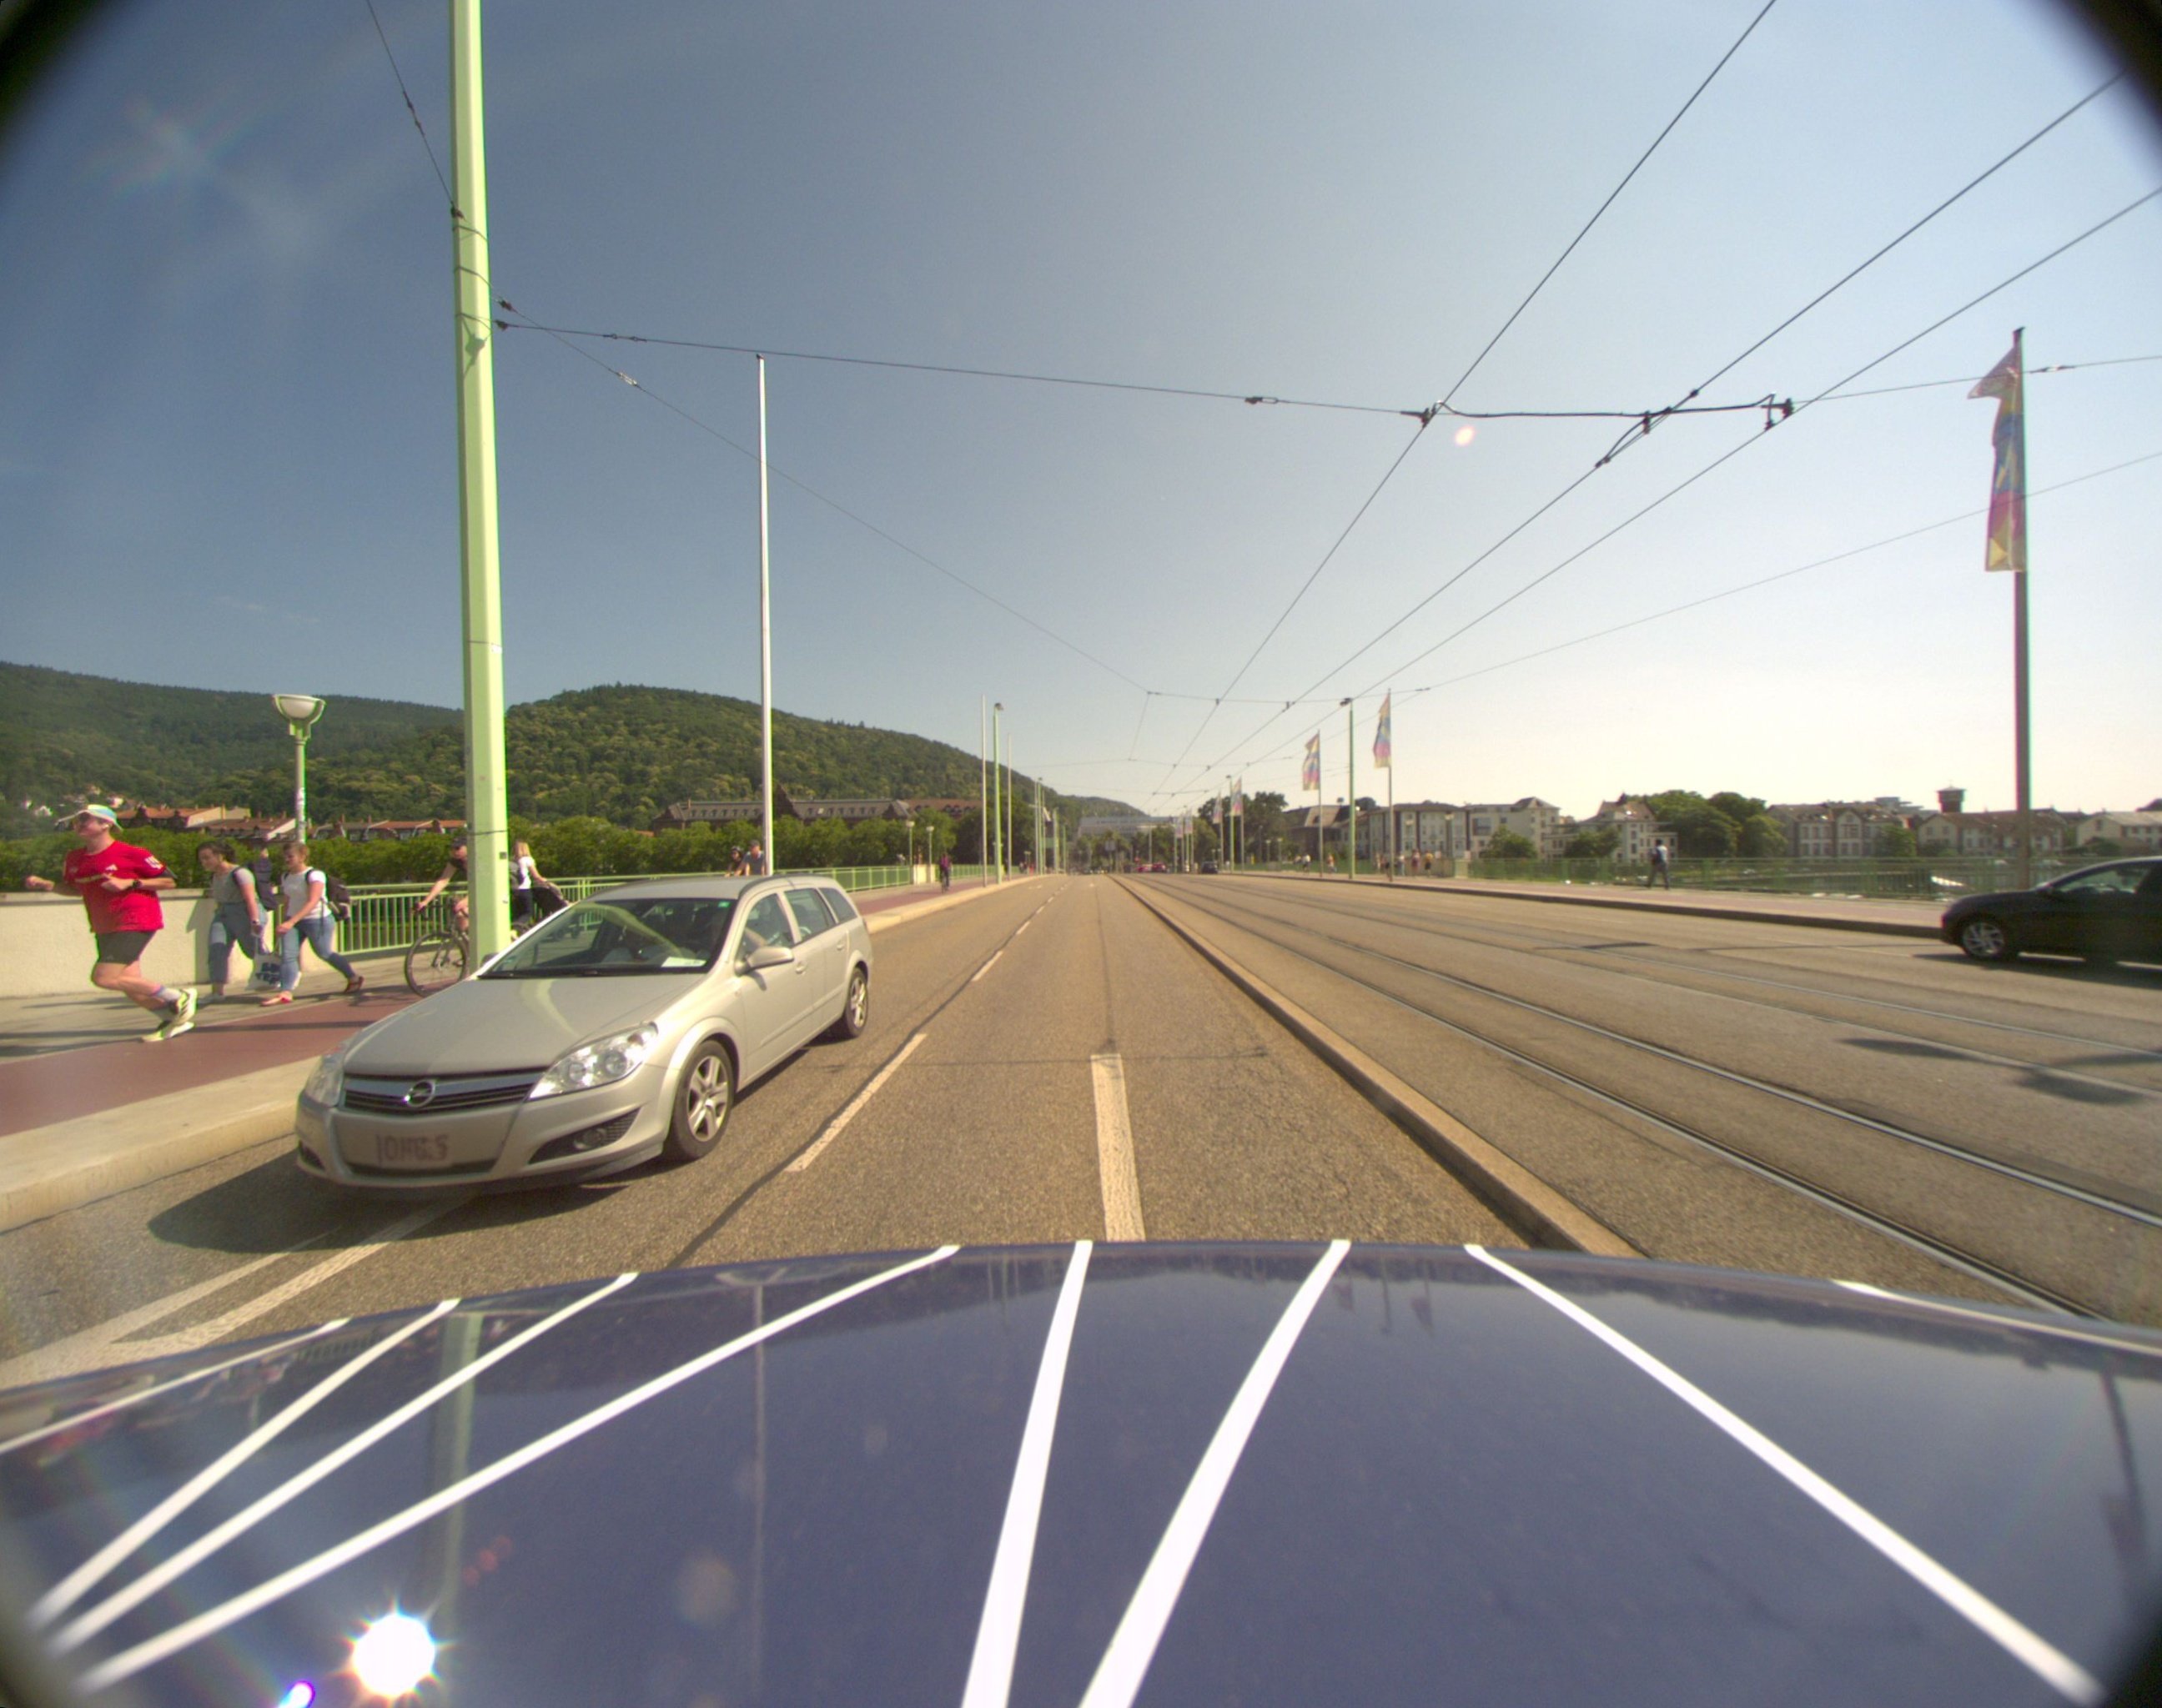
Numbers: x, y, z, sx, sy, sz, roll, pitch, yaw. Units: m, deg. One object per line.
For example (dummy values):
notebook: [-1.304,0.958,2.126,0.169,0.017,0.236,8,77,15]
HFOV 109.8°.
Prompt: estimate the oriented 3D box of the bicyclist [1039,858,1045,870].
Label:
bicyclist: [-5.428,1.362,106.316,0.731,1.655,0.844,-1,0,1]

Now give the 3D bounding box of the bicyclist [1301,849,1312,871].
bicyclist: [17.350,0.459,58.479,0.666,1.641,0.622,-1,1,2]

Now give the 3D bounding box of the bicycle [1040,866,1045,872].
bicycle: [-5.438,2.085,106.439,0.595,0.761,1.866,0,0,1]

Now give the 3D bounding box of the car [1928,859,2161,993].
car: [12.808,0.806,8.780,1.720,1.446,3.901,0,0,1]

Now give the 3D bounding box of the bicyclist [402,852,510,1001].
bicyclist: [-6.771,0.755,8.261,0.588,1.550,0.702,0,1,-1]

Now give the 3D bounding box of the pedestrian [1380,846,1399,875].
pedestrian: [18.685,0.406,45.981,0.671,1.690,1.022,-3,1,1]

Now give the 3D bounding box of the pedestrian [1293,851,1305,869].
pedestrian: [20.562,0.575,71.779,0.787,1.690,1.022,-3,1,1]

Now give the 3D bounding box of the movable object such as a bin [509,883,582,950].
movable object such as a bin: [-9.290,1.064,13.210,0.583,1.084,0.933,0,0,0]

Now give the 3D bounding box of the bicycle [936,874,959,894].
bicycle: [-5.600,1.243,31.918,0.595,0.761,1.866,0,0,1]

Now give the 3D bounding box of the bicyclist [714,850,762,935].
bicyclist: [-6.756,0.736,14.978,0.606,1.641,0.702,0,1,2]

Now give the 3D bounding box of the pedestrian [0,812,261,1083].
pedestrian: [-7.439,0.660,5.933,0.813,1.913,1.127,0,1,1]

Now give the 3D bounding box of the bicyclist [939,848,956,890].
bicyclist: [-5.608,0.634,31.894,0.587,1.759,0.672,0,1,1]

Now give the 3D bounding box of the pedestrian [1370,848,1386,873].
pedestrian: [19.795,0.417,50.614,0.627,1.590,1.022,-3,1,1]

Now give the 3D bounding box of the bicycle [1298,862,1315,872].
bicycle: [17.373,1.000,58.552,0.667,0.712,2.173,-1,0,1]

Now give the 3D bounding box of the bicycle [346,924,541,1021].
bicycle: [-6.774,1.223,8.210,0.595,0.761,1.831,0,0,-1]

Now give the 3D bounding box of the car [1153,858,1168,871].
car: [11.919,1.584,114.135,1.714,1.686,4.000,-5,0,2]

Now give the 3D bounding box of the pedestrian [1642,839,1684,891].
pedestrian: [19.938,0.367,26.032,0.592,1.690,1.022,-3,1,1]

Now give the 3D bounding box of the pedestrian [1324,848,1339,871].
pedestrian: [19.115,0.387,57.989,0.787,1.690,1.022,-3,1,1]

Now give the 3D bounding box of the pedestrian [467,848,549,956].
pedestrian: [-9.307,0.759,12.367,0.664,1.696,0.859,0,1,1]

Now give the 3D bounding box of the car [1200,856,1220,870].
car: [14.327,0.944,84.325,1.672,1.428,4.000,0,1,2]

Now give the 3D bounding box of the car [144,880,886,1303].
car: [-2.786,1.015,5.160,1.710,1.457,4.326,-2,0,1]

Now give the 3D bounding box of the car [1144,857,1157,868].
car: [11.851,1.442,129.535,1.814,1.611,4.000,-5,0,2]

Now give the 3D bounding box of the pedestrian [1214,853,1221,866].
pedestrian: [18.854,0.777,105.065,0.787,1.690,1.022,-3,1,1]

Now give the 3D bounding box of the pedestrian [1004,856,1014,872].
pedestrian: [-7.685,1.037,81.359,0.950,1.653,1.082,1,0,1]

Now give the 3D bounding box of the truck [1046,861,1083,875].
truck: [-3.511,3.091,165.709,7.683,2.248,2.662,-5,0,5]

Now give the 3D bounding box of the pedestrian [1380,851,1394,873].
pedestrian: [20.427,0.560,50.759,0.547,1.429,0.789,-3,1,1]

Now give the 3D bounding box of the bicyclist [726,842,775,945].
bicyclist: [-5.936,0.691,13.671,0.588,1.809,0.702,0,1,-1]

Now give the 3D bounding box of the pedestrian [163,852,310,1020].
pedestrian: [-8.692,0.808,7.854,0.669,1.649,0.746,0,1,1]

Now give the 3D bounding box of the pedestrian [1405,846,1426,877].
pedestrian: [18.800,0.424,42.700,0.686,1.681,1.022,-3,1,1]

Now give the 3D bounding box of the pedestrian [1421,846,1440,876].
pedestrian: [20.251,0.377,44.018,0.592,1.690,1.022,-3,1,1]

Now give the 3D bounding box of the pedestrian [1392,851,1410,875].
pedestrian: [19.321,0.537,45.884,0.592,1.406,1.022,-3,1,1]

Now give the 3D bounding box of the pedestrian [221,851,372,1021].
pedestrian: [-7.988,0.798,7.778,0.664,1.649,0.825,0,1,1]

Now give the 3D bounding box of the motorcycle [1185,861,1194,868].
motorcycle: [14.665,1.399,102.747,0.735,0.884,2.145,-5,0,1]

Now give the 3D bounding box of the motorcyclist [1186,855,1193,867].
motorcyclist: [14.624,0.923,102.735,0.739,1.504,0.729,-5,1,0]
